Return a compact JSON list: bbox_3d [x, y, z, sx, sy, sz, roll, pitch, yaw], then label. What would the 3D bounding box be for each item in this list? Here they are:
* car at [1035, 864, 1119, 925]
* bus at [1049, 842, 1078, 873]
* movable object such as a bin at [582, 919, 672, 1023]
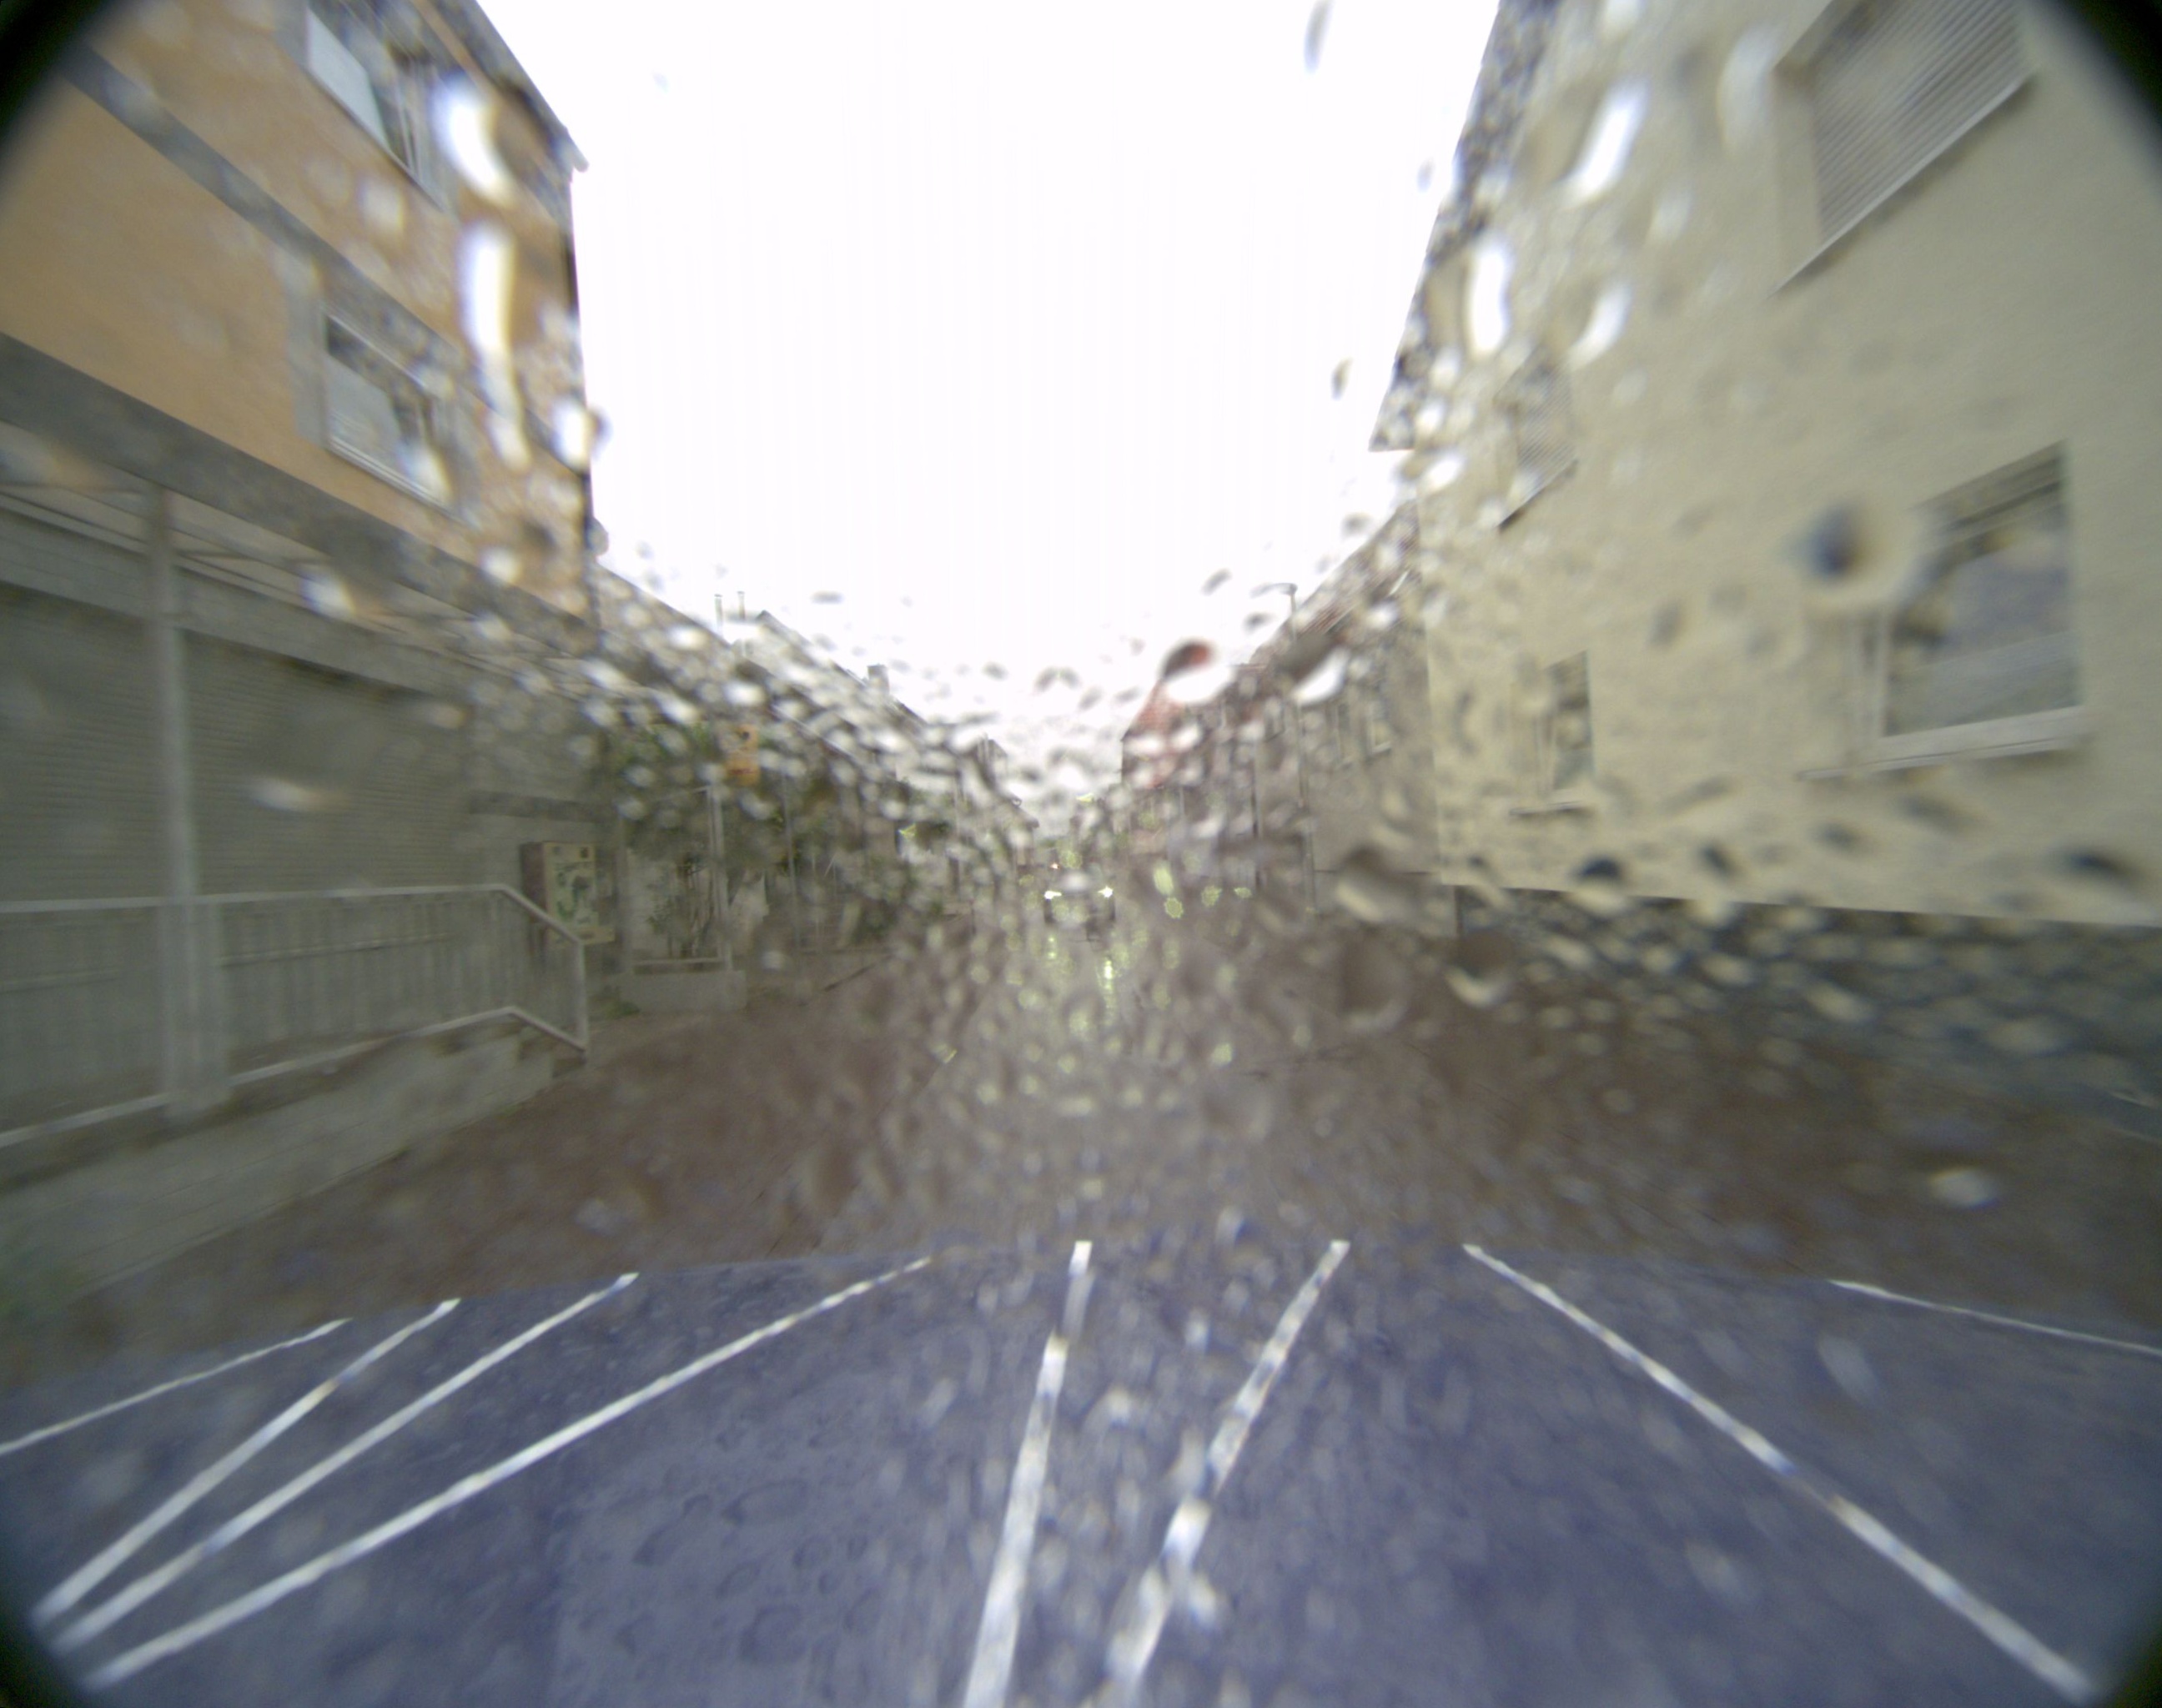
[{"bbox_3d":[-0.009,1.000,20.132,1.800,1.341,3.739,-3,0,5],"label":"car"},{"bbox_3d":[-2.376,0.404,98.902,2.893,3.589,11.975,-4,0,-5],"label":"bus"},{"bbox_3d":[-5.220,1.331,8.771,0.510,1.075,0.739,-2,0,4],"label":"movable object such as a bin"}]
